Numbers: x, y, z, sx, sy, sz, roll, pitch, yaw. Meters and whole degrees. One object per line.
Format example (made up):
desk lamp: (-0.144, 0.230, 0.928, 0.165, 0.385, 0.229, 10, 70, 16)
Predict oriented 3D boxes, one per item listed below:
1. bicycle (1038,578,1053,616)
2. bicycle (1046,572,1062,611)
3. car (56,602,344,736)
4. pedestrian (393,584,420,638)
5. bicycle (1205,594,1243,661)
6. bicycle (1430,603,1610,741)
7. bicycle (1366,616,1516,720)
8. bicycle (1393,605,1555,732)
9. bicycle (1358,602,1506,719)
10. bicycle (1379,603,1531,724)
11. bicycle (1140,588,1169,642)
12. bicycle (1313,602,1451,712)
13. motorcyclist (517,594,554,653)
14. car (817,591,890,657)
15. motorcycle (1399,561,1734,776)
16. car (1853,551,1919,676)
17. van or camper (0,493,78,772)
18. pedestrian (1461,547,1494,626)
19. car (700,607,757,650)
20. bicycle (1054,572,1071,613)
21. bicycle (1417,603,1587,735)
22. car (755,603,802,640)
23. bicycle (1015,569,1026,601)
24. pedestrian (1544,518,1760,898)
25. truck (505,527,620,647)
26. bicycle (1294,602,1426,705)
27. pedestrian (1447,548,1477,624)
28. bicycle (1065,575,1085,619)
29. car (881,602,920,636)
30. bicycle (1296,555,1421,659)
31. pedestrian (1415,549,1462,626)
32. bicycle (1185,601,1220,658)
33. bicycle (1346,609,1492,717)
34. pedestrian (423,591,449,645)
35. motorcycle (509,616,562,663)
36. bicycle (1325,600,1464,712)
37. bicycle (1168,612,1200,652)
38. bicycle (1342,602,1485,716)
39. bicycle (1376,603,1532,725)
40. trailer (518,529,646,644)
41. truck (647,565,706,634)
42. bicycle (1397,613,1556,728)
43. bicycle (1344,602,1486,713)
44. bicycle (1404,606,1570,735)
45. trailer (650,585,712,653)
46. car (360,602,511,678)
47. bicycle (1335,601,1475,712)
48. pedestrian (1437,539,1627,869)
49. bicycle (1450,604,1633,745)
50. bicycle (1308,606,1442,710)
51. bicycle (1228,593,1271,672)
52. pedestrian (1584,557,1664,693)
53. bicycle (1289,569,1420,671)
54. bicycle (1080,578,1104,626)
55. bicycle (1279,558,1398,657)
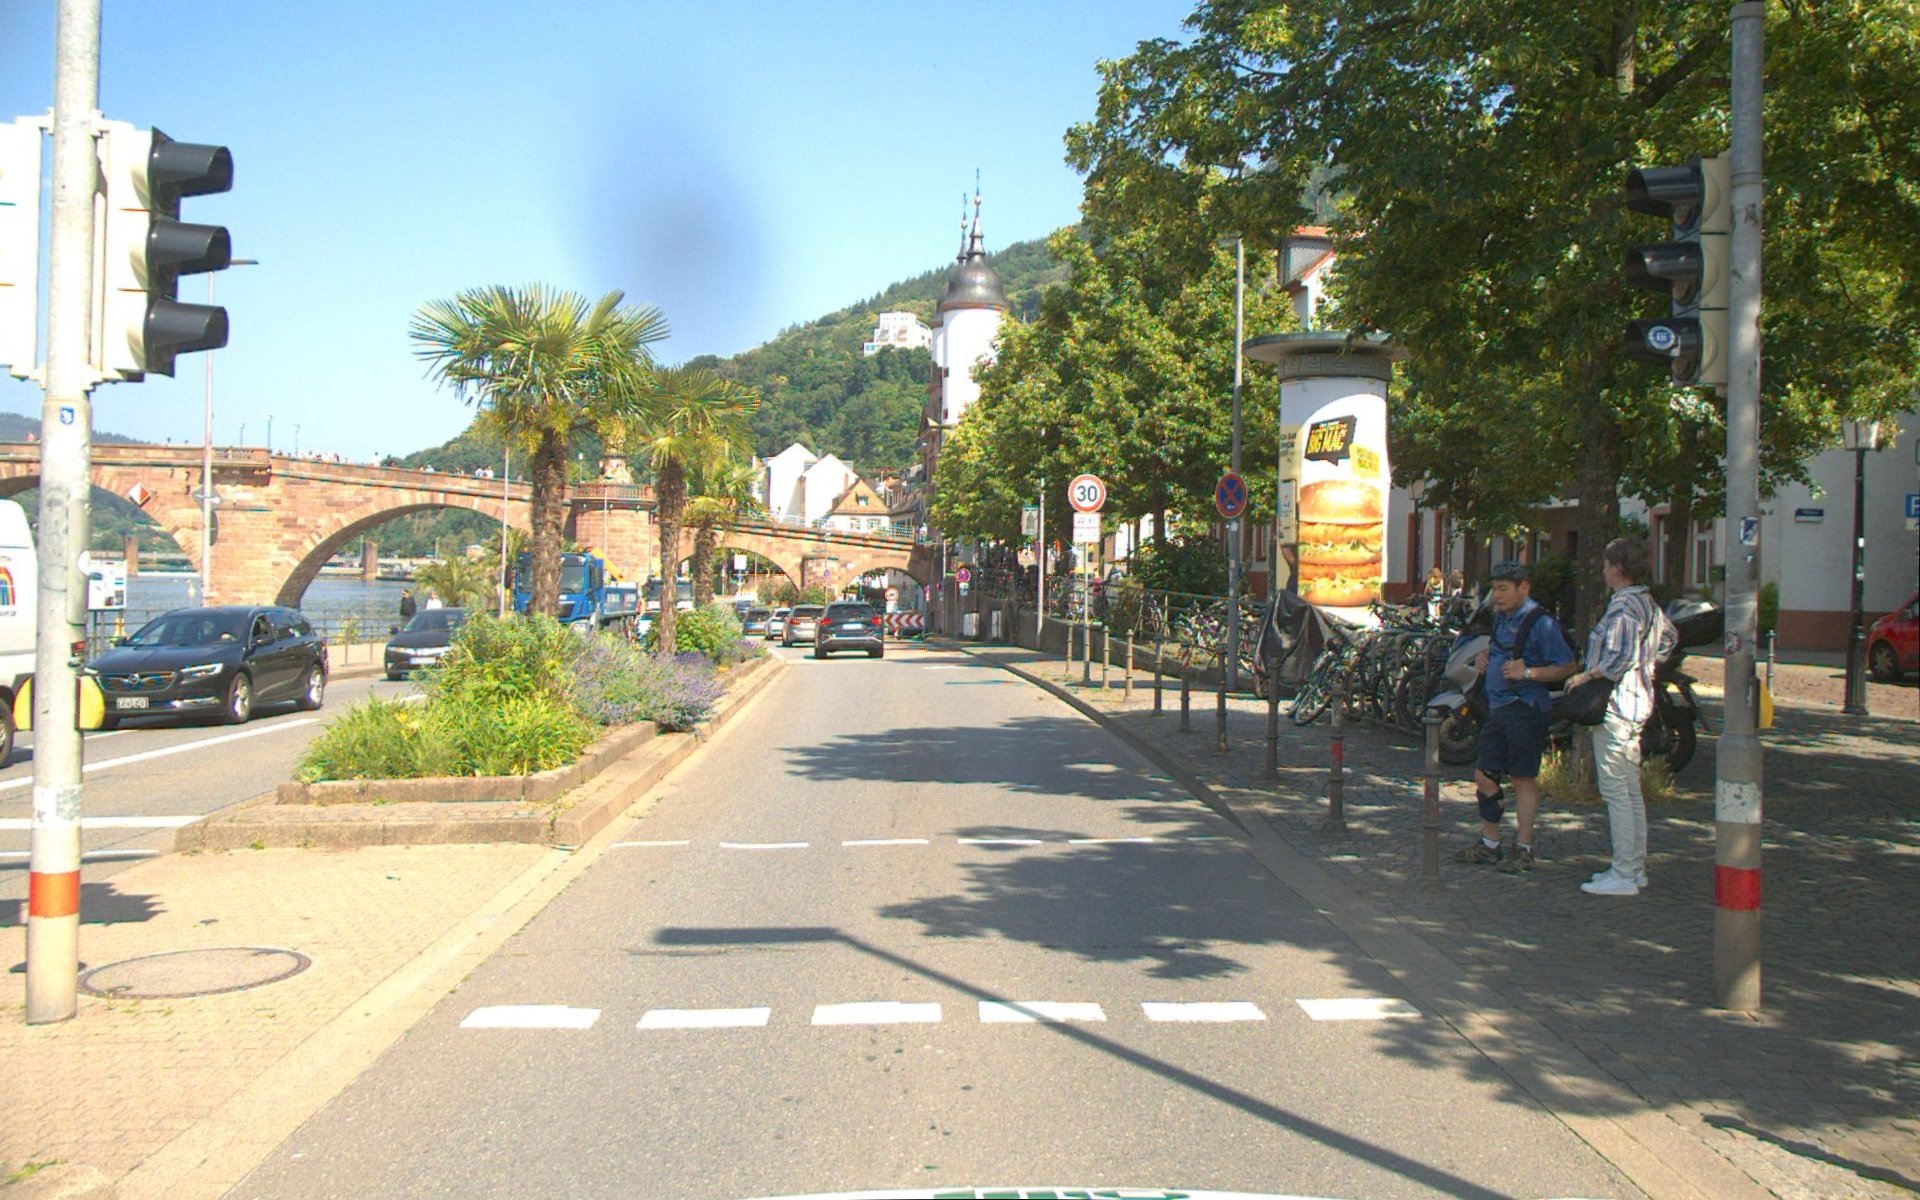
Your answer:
bicycle: (2.577, -0.082, 49.897, 0.245, 1.115, 1.488, 2, 0, -4)
bicycle: (2.727, -0.242, 47.813, 0.245, 1.115, 1.488, 2, 0, -4)
car: (-9.871, 0.815, 21.970, 1.782, 1.481, 4.925, -1, 1, -4)
pedestrian: (-18.820, 0.380, 56.232, 0.748, 1.811, 0.694, 1, 0, -11)
bicycle: (4.166, 0.417, 26.173, 0.245, 1.028, 1.487, 1, 0, -5)
bicycle: (4.815, 0.609, 14.240, 1.456, 1.139, 0.377, -1, 0, -9)
bicycle: (4.771, 0.670, 16.400, 1.456, 0.996, 0.250, -1, 0, -9)
bicycle: (4.759, 0.624, 15.323, 1.456, 1.139, 0.293, -1, 0, -9)
bicycle: (4.750, 0.598, 16.645, 1.456, 1.139, 0.250, -1, 0, -9)
bicycle: (4.829, 0.609, 16.134, 1.456, 1.139, 0.250, -1, 0, -9)
bicycle: (3.800, 0.286, 32.346, 0.245, 1.017, 1.487, 2, 0, -5)
bicycle: (4.621, 0.614, 18.104, 1.456, 1.139, 0.250, -2, 0, -9)
motorcyclist: (-11.158, 0.608, 43.501, 0.721, 1.496, 1.011, 1, 0, 0)
car: (-2.954, 0.621, 45.311, 1.889, 1.580, 4.828, 0, 2, -5)
motorcycle: (4.539, 0.484, 12.492, 2.254, 1.491, 0.761, -1, -1, 38)
car: (15.928, 0.239, 25.065, 1.955, 1.935, 4.628, 1, 1, -5)
van or camper: (-9.431, 0.300, 13.430, 1.955, 2.492, 5.489, -1, 0, -5)
pedestrian: (13.552, -0.345, 43.298, 0.622, 2.049, 0.644, 1, 0, -3)
car: (-9.684, 1.172, 69.427, 1.954, 1.580, 4.829, 1, 1, -3)
bicycle: (2.843, -0.209, 45.891, 0.245, 1.115, 1.488, 2, 0, -4)
bicycle: (4.829, 0.607, 14.739, 1.456, 1.139, 0.293, -1, 0, -9)
car: (-8.554, 1.004, 78.235, 1.954, 1.580, 4.829, 1, 1, -3)
bicycle: (2.133, -0.520, 58.501, 0.348, 1.115, 1.489, 2, 0, 2)
pedestrian: (3.455, 0.506, 8.300, 0.681, 1.802, 0.762, -1, 1, -11)
truck: (-12.057, -0.403, 50.519, 2.605, 3.463, 4.447, 1, 0, -3)
bicycle: (4.527, 0.601, 18.716, 1.456, 1.152, 0.250, 0, 0, -9)
pedestrian: (13.763, -0.379, 45.326, 0.574, 2.049, 0.596, 1, 1, -4)
bicycle: (3.013, -0.075, 43.494, 0.270, 1.115, 1.488, -4, 1, -4)
car: (-3.037, 0.956, 84.586, 1.684, 1.624, 3.896, 1, 1, 2)
bicycle: (5.850, 0.102, 24.288, 1.790, 1.509, 0.269, 0, 0, -6)
pedestrian: (12.259, -0.320, 42.388, 0.949, 1.948, 0.747, 1, 0, -3)
bicycle: (4.057, 0.480, 27.757, 0.245, 0.920, 1.487, 1, 0, -5)
bicycle: (4.683, 0.636, 16.884, 1.456, 1.065, 0.250, -1, 0, -9)
pedestrian: (-17.861, 0.609, 56.406, 0.748, 1.811, 0.694, 1, 0, -11)
motorcycle: (-11.166, 1.026, 43.594, 0.742, 1.151, 2.455, 1, 1, 0)
bicycle: (4.685, 0.595, 17.830, 1.456, 1.139, 0.250, -2, 0, -9)
bicycle: (3.961, 0.558, 29.307, 0.245, 0.675, 1.468, 1, 0, -5)
bicycle: (4.698, 0.602, 17.133, 1.456, 1.139, 0.250, -1, 0, -9)
bicycle: (4.736, 0.603, 15.857, 1.456, 1.139, 0.250, -1, 0, -9)
trailer: (-12.285, -0.454, 54.533, 2.605, 3.462, 8.821, 1, 1, -3)
truck: (-14.687, -0.047, 85.857, 2.606, 3.463, 5.129, 1, 0, -6)
bicycle: (4.876, 0.654, 15.625, 1.456, 1.050, 0.293, -1, 0, -9)
bicycle: (4.786, 0.598, 17.397, 1.456, 1.139, 0.250, -1, 0, -9)
bicycle: (4.790, 0.630, 15.034, 1.456, 1.139, 0.293, -1, 0, -9)
trailer: (-15.208, 0.955, 90.822, 2.606, 3.462, 10.156, 1, 1, -6)
car: (-10.870, 0.819, 34.610, 1.913, 1.437, 4.217, -1, -1, -2)
bicycle: (4.738, 0.593, 17.612, 1.456, 1.139, 0.250, -1, 0, -9)
pedestrian: (3.107, 0.533, 9.029, 0.681, 1.706, 0.762, -1, 1, -11)
bicycle: (4.866, 0.616, 13.860, 1.455, 1.139, 0.294, -1, 0, -5)
bicycle: (4.615, 0.646, 18.403, 1.456, 1.139, 0.250, 0, 0, -9)
bicycle: (4.305, 0.463, 24.638, 0.245, 1.139, 1.487, 1, 0, -5)
pedestrian: (8.386, 0.305, 20.913, 0.693, 1.682, 0.706, 0, 0, -3)
bicycle: (5.867, 0.298, 24.614, 1.888, 1.509, 0.311, 0, 0, -6)
bicycle: (3.179, 0.045, 39.929, 0.339, 1.115, 1.488, 2, 0, -4)
bicycle: (5.833, 0.117, 25.507, 1.794, 1.509, 0.285, 0, 0, -6)
